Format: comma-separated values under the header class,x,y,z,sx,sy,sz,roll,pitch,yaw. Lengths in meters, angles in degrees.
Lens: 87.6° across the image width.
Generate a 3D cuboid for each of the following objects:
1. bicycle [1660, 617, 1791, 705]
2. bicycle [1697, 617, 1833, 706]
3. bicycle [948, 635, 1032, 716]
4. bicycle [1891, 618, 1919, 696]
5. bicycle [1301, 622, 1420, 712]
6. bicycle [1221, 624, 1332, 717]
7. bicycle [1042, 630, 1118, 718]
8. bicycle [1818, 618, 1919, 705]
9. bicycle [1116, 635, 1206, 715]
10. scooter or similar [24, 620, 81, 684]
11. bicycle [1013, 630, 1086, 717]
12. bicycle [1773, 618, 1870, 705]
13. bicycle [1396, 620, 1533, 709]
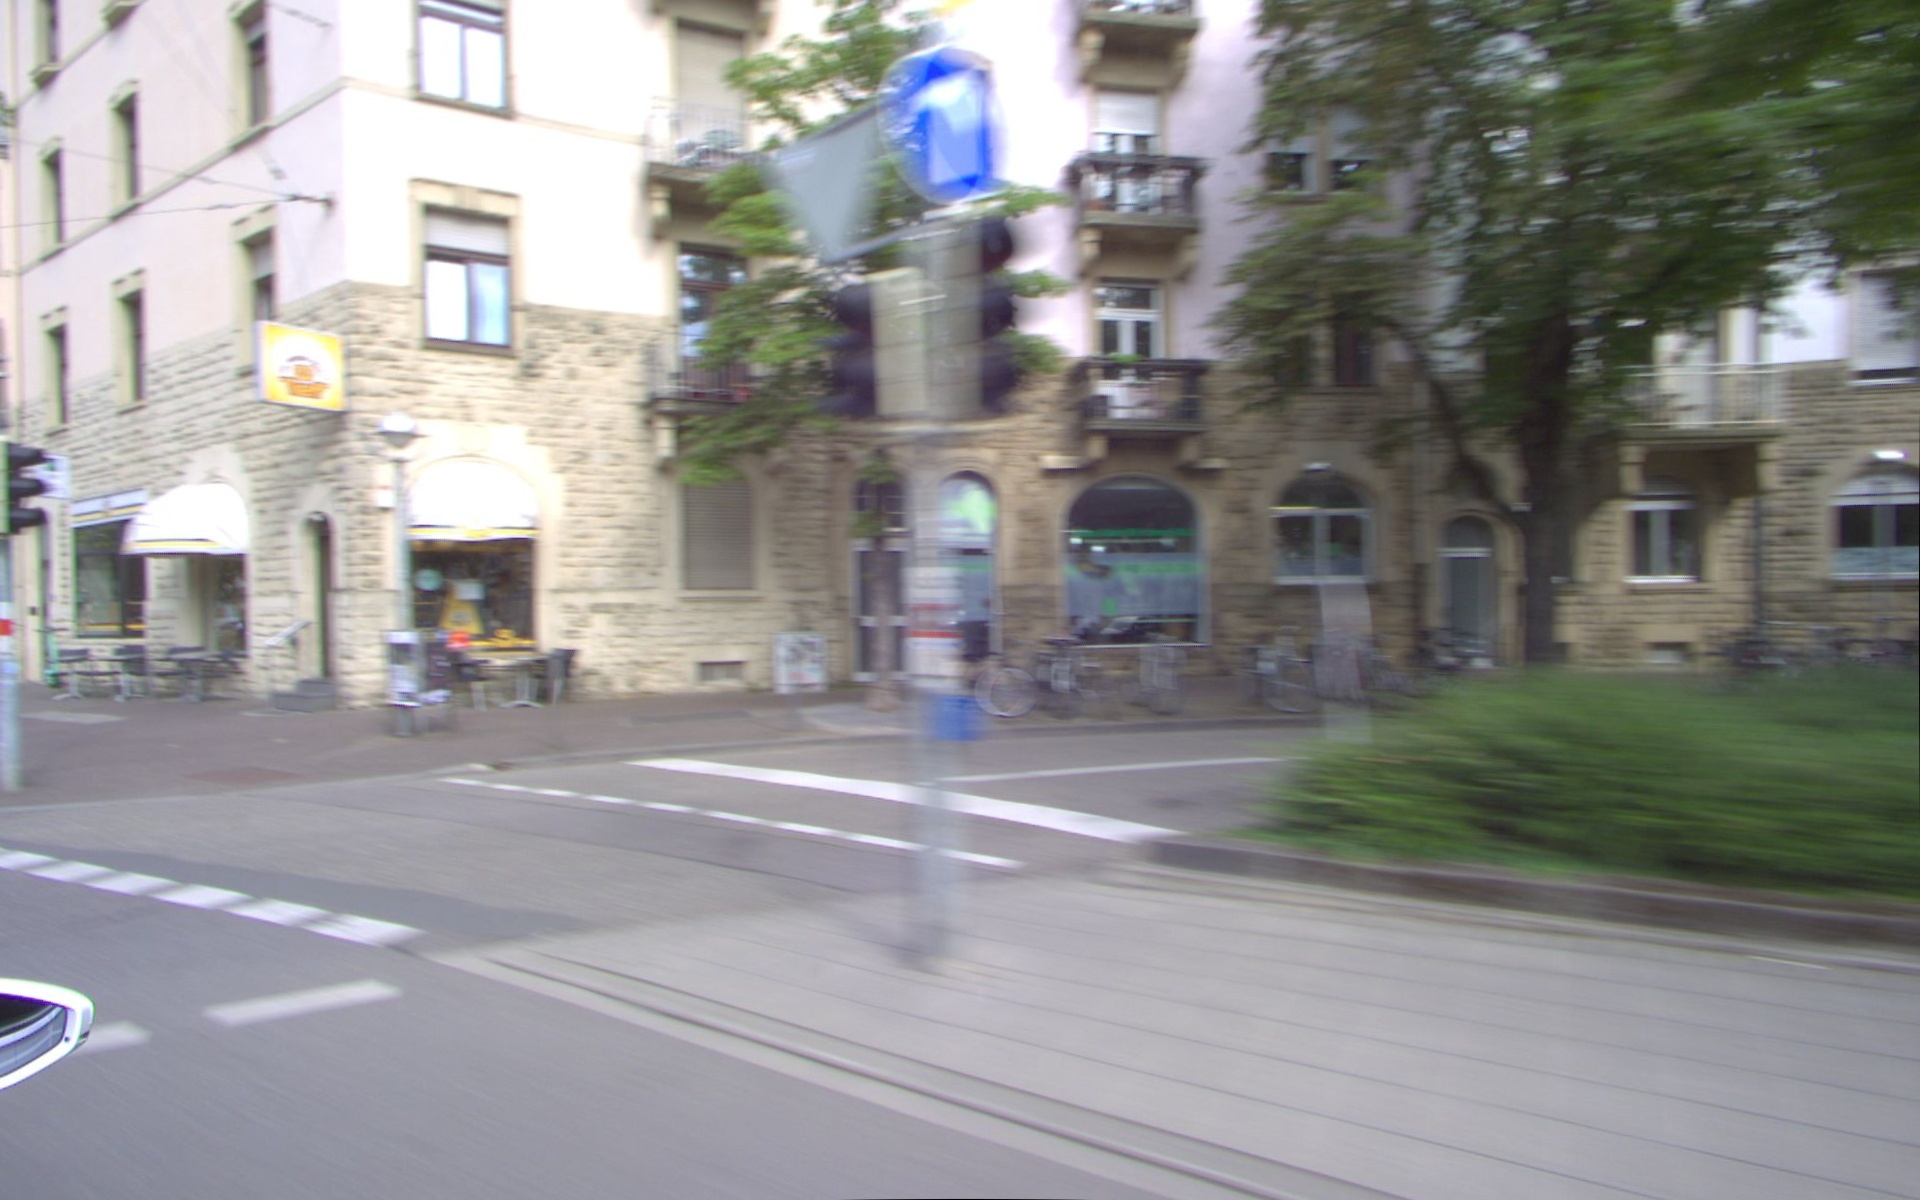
class,x,y,z,sx,sy,sz,roll,pitch,yaw
bicycle,11.170,0.854,14.693,0.522,1.143,1.893,-1,1,2
bicycle,11.709,0.855,14.648,0.522,1.143,1.893,-1,1,2
bicycle,0.378,0.996,13.677,0.593,0.985,1.668,-1,0,-19
bicycle,14.276,0.838,14.339,0.572,1.143,1.891,0,0,16
bicycle,5.572,0.900,14.059,0.523,1.143,1.891,-1,0,-15
bicycle,4.288,0.921,13.716,0.523,1.143,1.891,-1,0,-15
bicycle,1.583,0.962,13.458,0.441,1.069,1.647,-1,0,-15
bicycle,13.077,0.849,14.412,0.589,1.143,1.888,0,0,24
bicycle,2.717,0.991,13.691,0.523,0.985,1.647,-1,0,-15
scooter or similar,-17.891,1.002,19.735,1.244,1.204,0.507,0,1,33
bicycle,1.184,0.956,13.535,0.441,1.069,1.647,-1,0,-15
bicycle,12.518,0.857,14.610,0.554,1.143,1.888,0,0,24
bicycle,7.141,0.876,14.278,0.655,1.143,1.891,-1,0,-15
